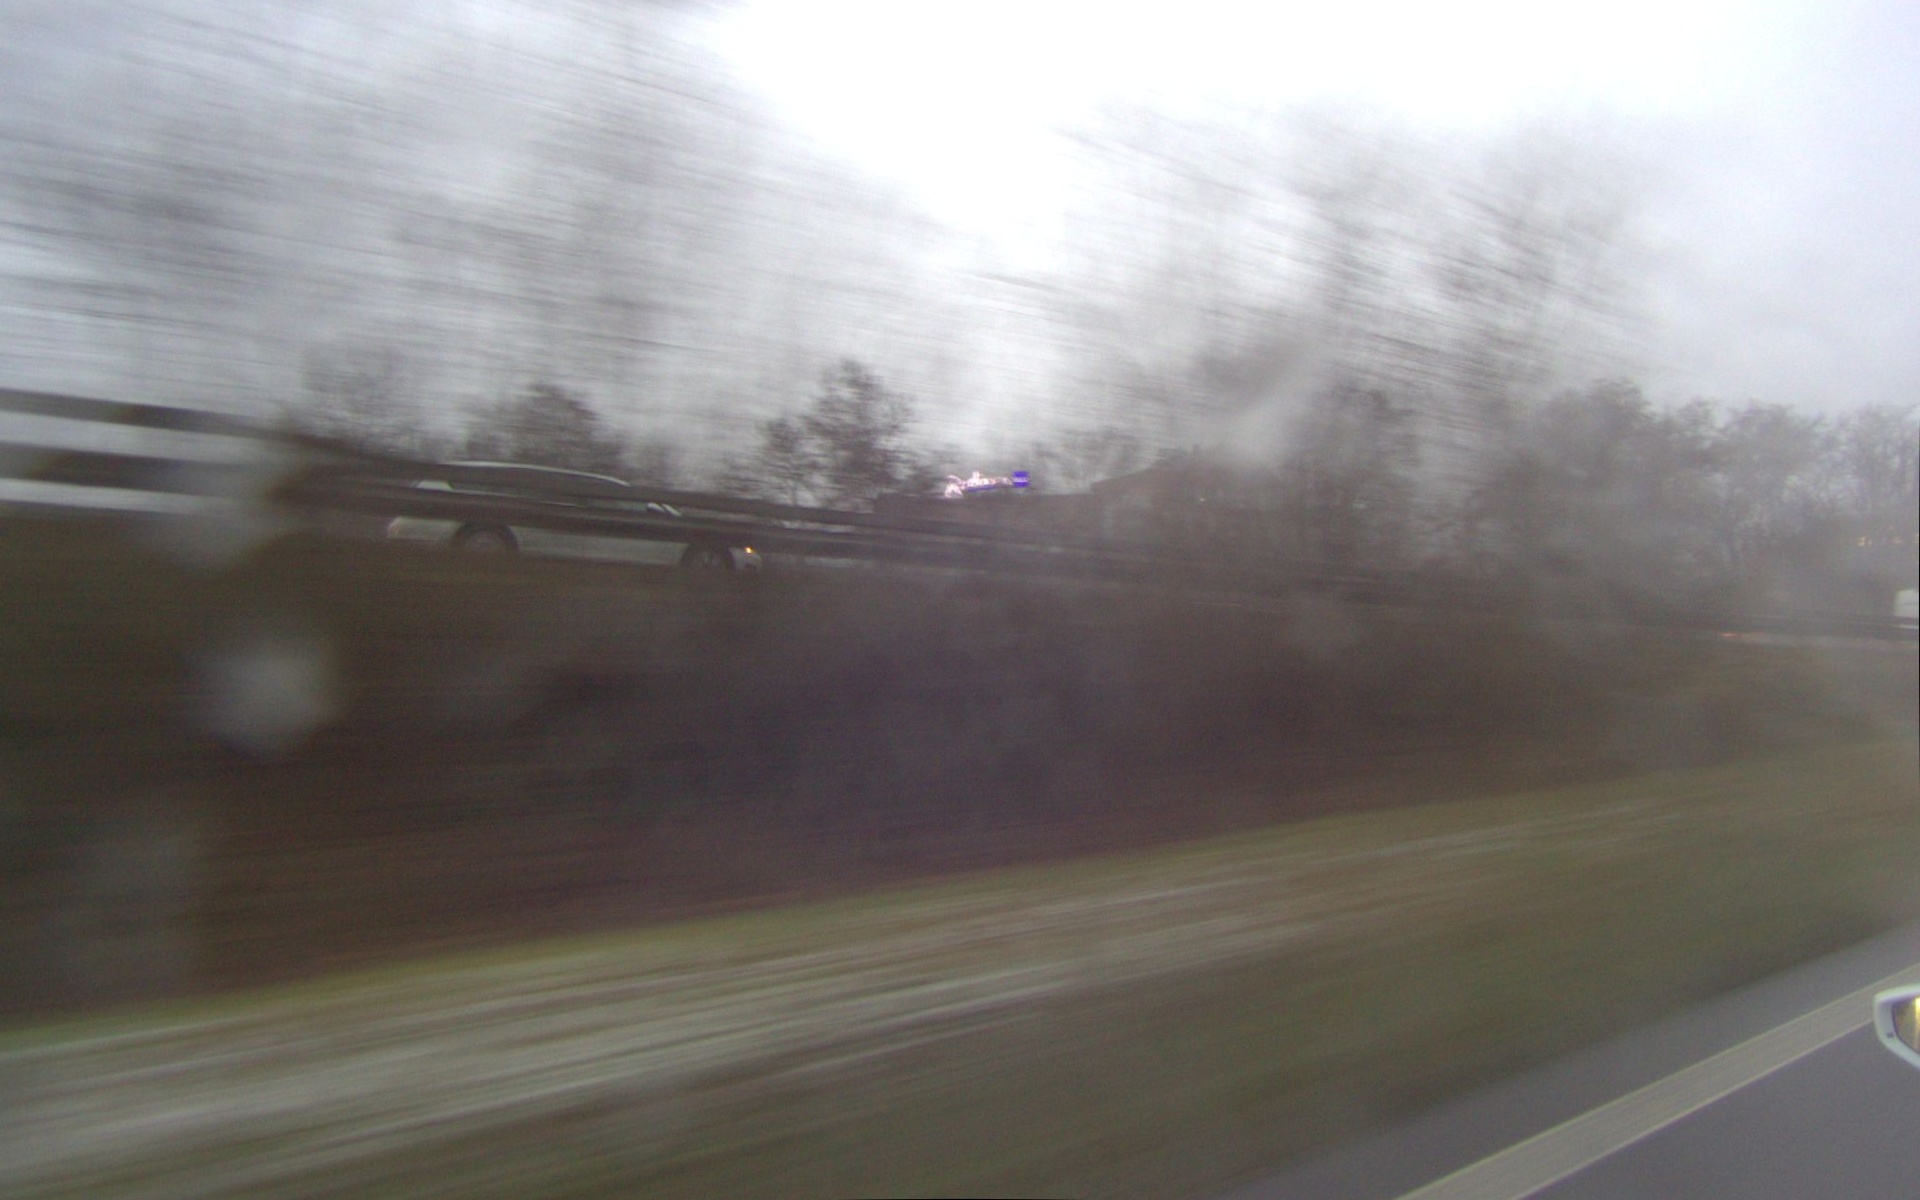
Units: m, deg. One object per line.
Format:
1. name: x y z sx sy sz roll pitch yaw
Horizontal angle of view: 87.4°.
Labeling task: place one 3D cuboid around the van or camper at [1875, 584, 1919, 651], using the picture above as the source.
1. van or camper: 37.067 0.707 37.651 5.506 2.445 2.260 2 -1 -26

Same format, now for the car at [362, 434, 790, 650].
1. car: -4.863 -0.675 13.069 4.693 2.039 1.986 6 3 -27
